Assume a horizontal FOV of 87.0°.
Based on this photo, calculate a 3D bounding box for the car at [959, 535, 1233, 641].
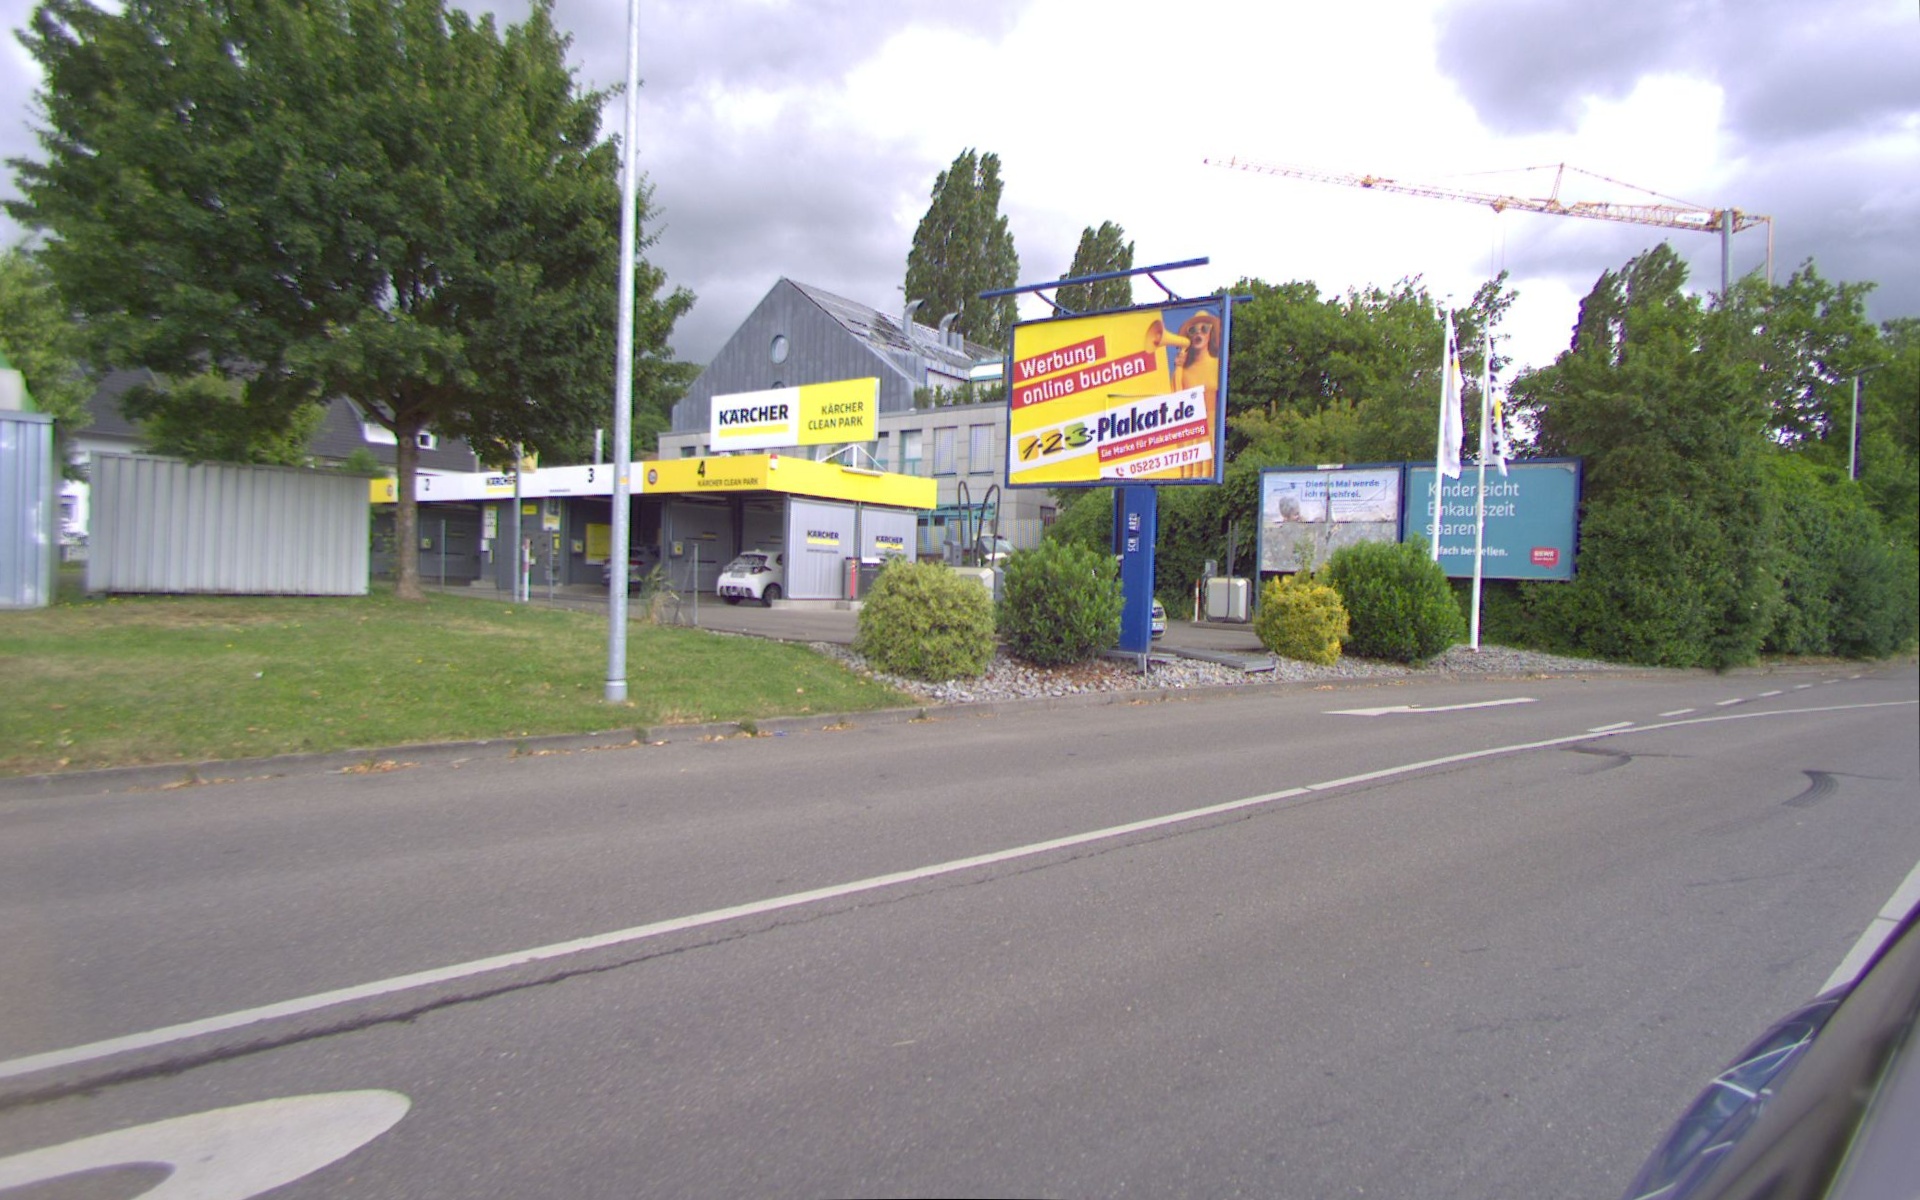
[{"bbox_3d":[2.445,-0.277,18.485,4.017,1.676,2.900,4,2,43],"label":"car"}]

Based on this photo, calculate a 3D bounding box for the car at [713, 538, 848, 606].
[{"bbox_3d":[-4.764,-0.739,27.185,1.620,1.660,3.489,3,2,32],"label":"car"}]

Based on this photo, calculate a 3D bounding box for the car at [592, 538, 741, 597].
[{"bbox_3d":[-8.548,-0.938,29.749,1.828,1.593,3.880,3,2,36],"label":"car"}]

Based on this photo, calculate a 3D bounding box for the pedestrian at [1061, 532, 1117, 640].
[{"bbox_3d":[2.069,-0.229,16.272,0.630,1.691,0.577,3,1,40],"label":"pedestrian"}]
